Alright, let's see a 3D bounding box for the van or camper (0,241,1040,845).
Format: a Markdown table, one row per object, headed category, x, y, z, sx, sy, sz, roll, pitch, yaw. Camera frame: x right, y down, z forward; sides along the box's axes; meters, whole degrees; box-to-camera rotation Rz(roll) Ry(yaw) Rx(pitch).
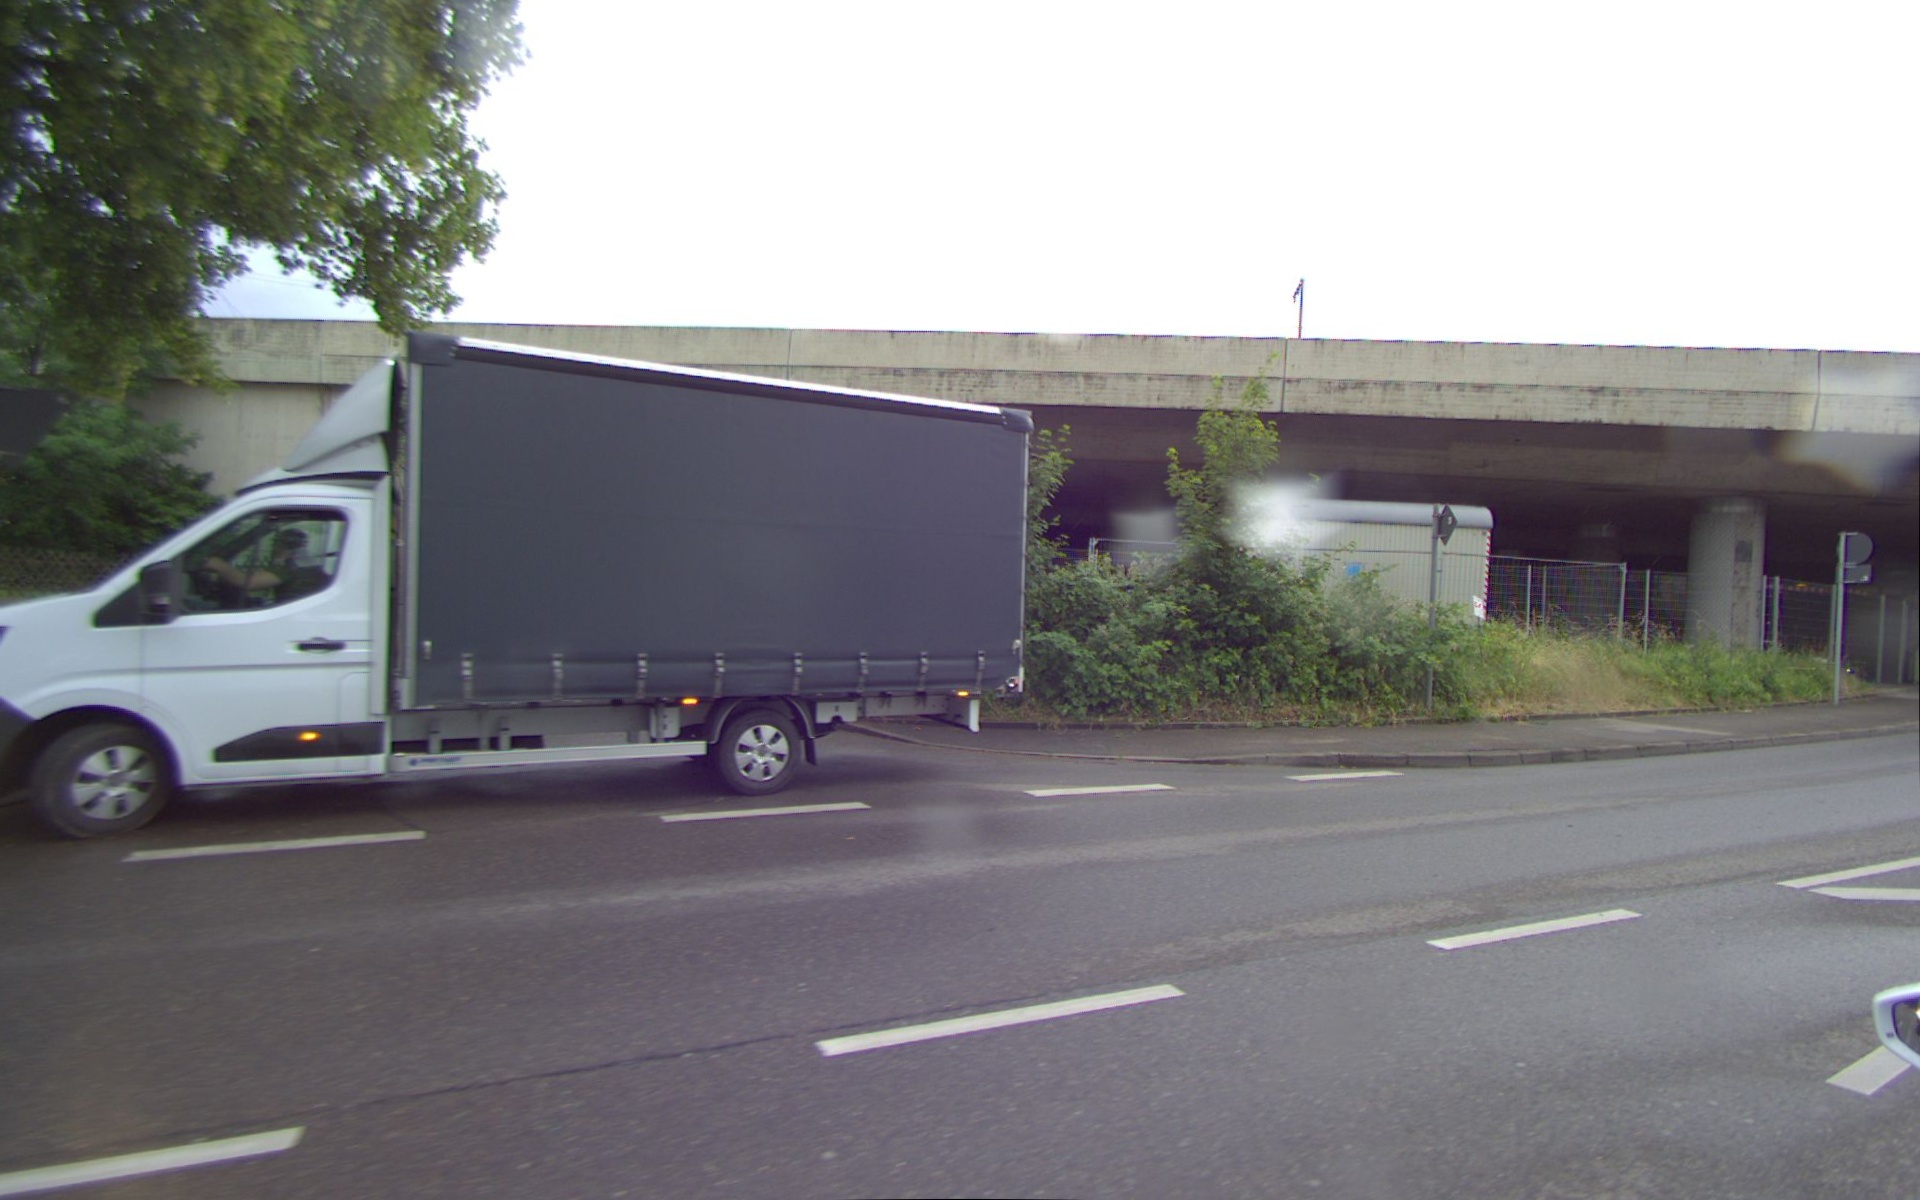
| category | x | y | z | sx | sy | sz | roll | pitch | yaw |
| --- | --- | --- | --- | --- | --- | --- | --- | --- | --- |
| van or camper | -3.300 | -0.231 | 8.333 | 7.668 | 3.379 | 2.686 | 2 | 0 | -29 |
